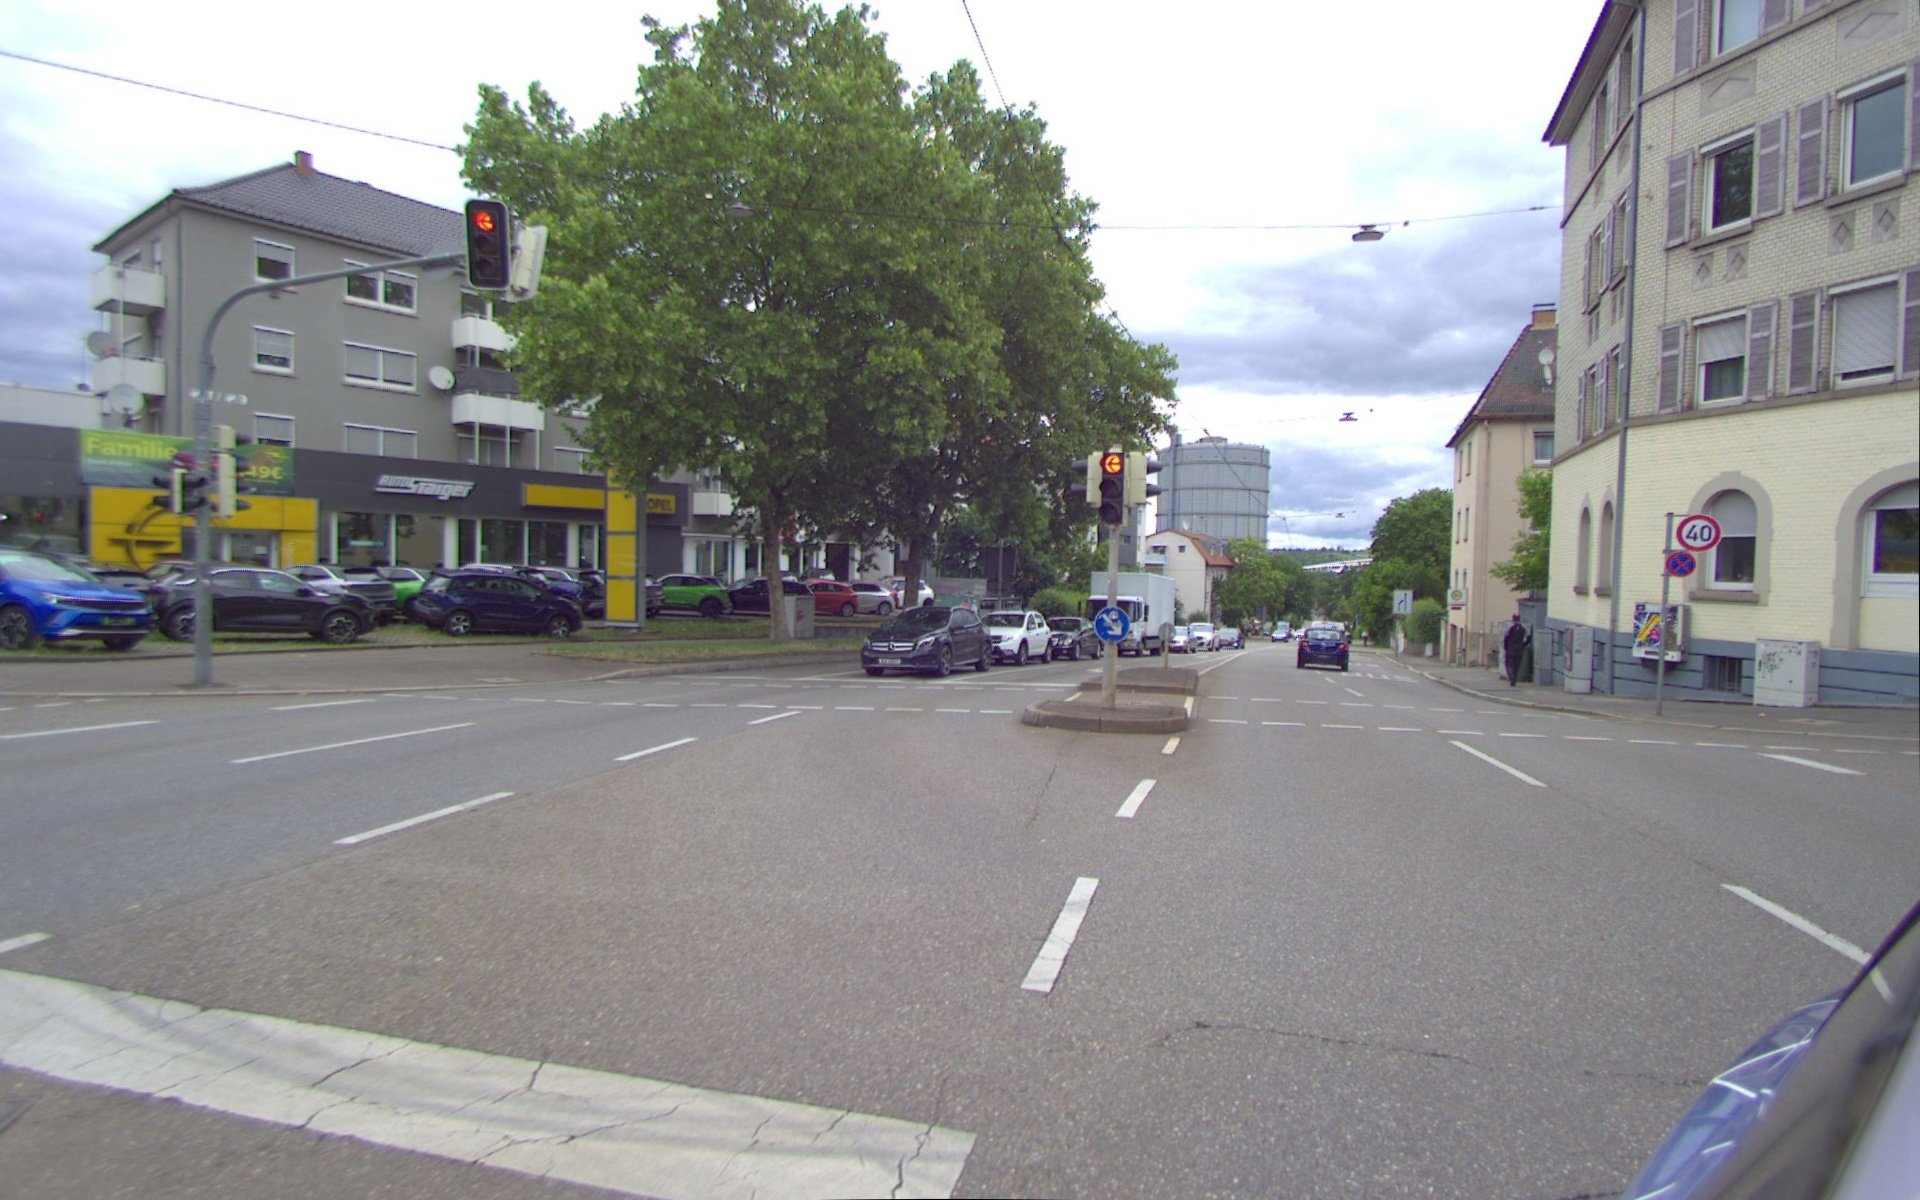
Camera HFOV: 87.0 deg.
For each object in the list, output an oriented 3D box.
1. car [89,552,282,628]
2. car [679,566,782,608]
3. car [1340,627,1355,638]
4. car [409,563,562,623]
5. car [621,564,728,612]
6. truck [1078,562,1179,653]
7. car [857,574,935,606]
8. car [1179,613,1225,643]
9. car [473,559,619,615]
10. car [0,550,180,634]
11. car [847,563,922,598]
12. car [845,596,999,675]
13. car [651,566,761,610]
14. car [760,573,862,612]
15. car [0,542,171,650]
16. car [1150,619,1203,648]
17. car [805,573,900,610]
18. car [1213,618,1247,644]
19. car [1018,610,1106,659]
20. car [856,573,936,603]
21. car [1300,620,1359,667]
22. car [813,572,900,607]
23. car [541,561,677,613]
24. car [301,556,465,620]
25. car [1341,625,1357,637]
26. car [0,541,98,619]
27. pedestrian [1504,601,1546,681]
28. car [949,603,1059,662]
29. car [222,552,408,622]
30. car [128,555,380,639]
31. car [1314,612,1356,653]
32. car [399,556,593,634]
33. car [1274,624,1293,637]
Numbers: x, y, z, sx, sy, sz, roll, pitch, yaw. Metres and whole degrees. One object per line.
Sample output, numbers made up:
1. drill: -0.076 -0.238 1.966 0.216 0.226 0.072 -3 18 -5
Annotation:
1. car: -18.100 -0.255 23.661 3.954 1.569 1.849 2 1 23
2. car: -9.201 -0.506 40.544 3.916 1.523 1.867 2 1 -14
3. car: 59.291 5.006 154.892 1.977 1.620 3.969 0 -1 23
4. car: -13.781 -0.227 29.398 3.954 1.569 1.849 2 1 23
5. car: -10.134 -0.427 35.994 3.534 1.572 1.625 2 1 -17
6. truck: 7.420 0.296 43.663 2.740 3.546 8.112 0 0 21
7. car: -3.294 -0.508 52.098 3.545 1.523 1.794 1 1 -31
8. car: 14.163 1.595 59.094 1.977 1.650 4.374 0 0 23
9. car: -12.906 -0.429 31.594 3.947 1.569 1.852 2 1 18
10. car: -18.559 -0.210 21.144 3.954 1.569 1.849 2 1 23
11. car: -4.321 -1.091 57.654 3.916 1.845 1.867 2 1 -14
12. car: -0.717 0.703 22.293 1.975 1.545 4.229 0 0 20
13. car: -9.648 -0.463 38.497 3.916 1.523 1.759 2 1 -14
14. car: -6.362 -0.320 43.263 3.917 1.523 1.866 2 1 -26
15. car: -15.690 -0.145 16.780 4.195 1.597 1.822 3 0 13
16. car: 11.094 1.666 51.680 1.897 1.315 4.375 0 0 22
17. car: -4.919 -0.398 46.329 3.916 1.523 1.867 2 1 -24
18. car: 18.814 2.140 70.474 1.975 1.650 4.380 0 0 20
19. car: 3.523 1.107 34.180 1.975 1.484 4.380 0 0 20
20. car: -3.469 -0.645 55.300 3.919 1.523 1.865 2 1 -30
21. car: 12.932 1.459 35.331 1.741 1.465 3.722 1 0 23
22. car: -5.019 -0.497 48.966 3.916 1.523 1.867 2 1 -14
23. car: -11.652 -0.436 33.658 3.947 1.569 1.852 2 1 18
24. car: -15.741 -0.349 27.611 3.954 1.569 1.849 2 1 23
25. car: 55.549 4.442 144.501 1.977 1.620 3.969 0 -1 23
26. car: -23.131 -0.517 23.647 1.699 1.803 4.200 3 1 30
27. pedestrian: 14.211 1.025 25.467 0.738 1.961 0.897 -2 -2 21
28. car: 1.331 0.851 28.571 1.975 1.545 4.229 0 0 20
29. car: -16.266 -0.336 25.548 3.946 1.569 1.853 2 1 17
30. car: -14.408 -0.032 20.799 1.824 1.495 3.935 3 0 44
31. car: 19.314 1.636 52.250 1.848 1.907 4.256 4 0 20
32. car: -11.973 -0.101 26.261 1.826 1.626 4.103 10 4 43
33. car: 40.134 3.780 125.537 1.977 1.620 3.969 0 -1 23
